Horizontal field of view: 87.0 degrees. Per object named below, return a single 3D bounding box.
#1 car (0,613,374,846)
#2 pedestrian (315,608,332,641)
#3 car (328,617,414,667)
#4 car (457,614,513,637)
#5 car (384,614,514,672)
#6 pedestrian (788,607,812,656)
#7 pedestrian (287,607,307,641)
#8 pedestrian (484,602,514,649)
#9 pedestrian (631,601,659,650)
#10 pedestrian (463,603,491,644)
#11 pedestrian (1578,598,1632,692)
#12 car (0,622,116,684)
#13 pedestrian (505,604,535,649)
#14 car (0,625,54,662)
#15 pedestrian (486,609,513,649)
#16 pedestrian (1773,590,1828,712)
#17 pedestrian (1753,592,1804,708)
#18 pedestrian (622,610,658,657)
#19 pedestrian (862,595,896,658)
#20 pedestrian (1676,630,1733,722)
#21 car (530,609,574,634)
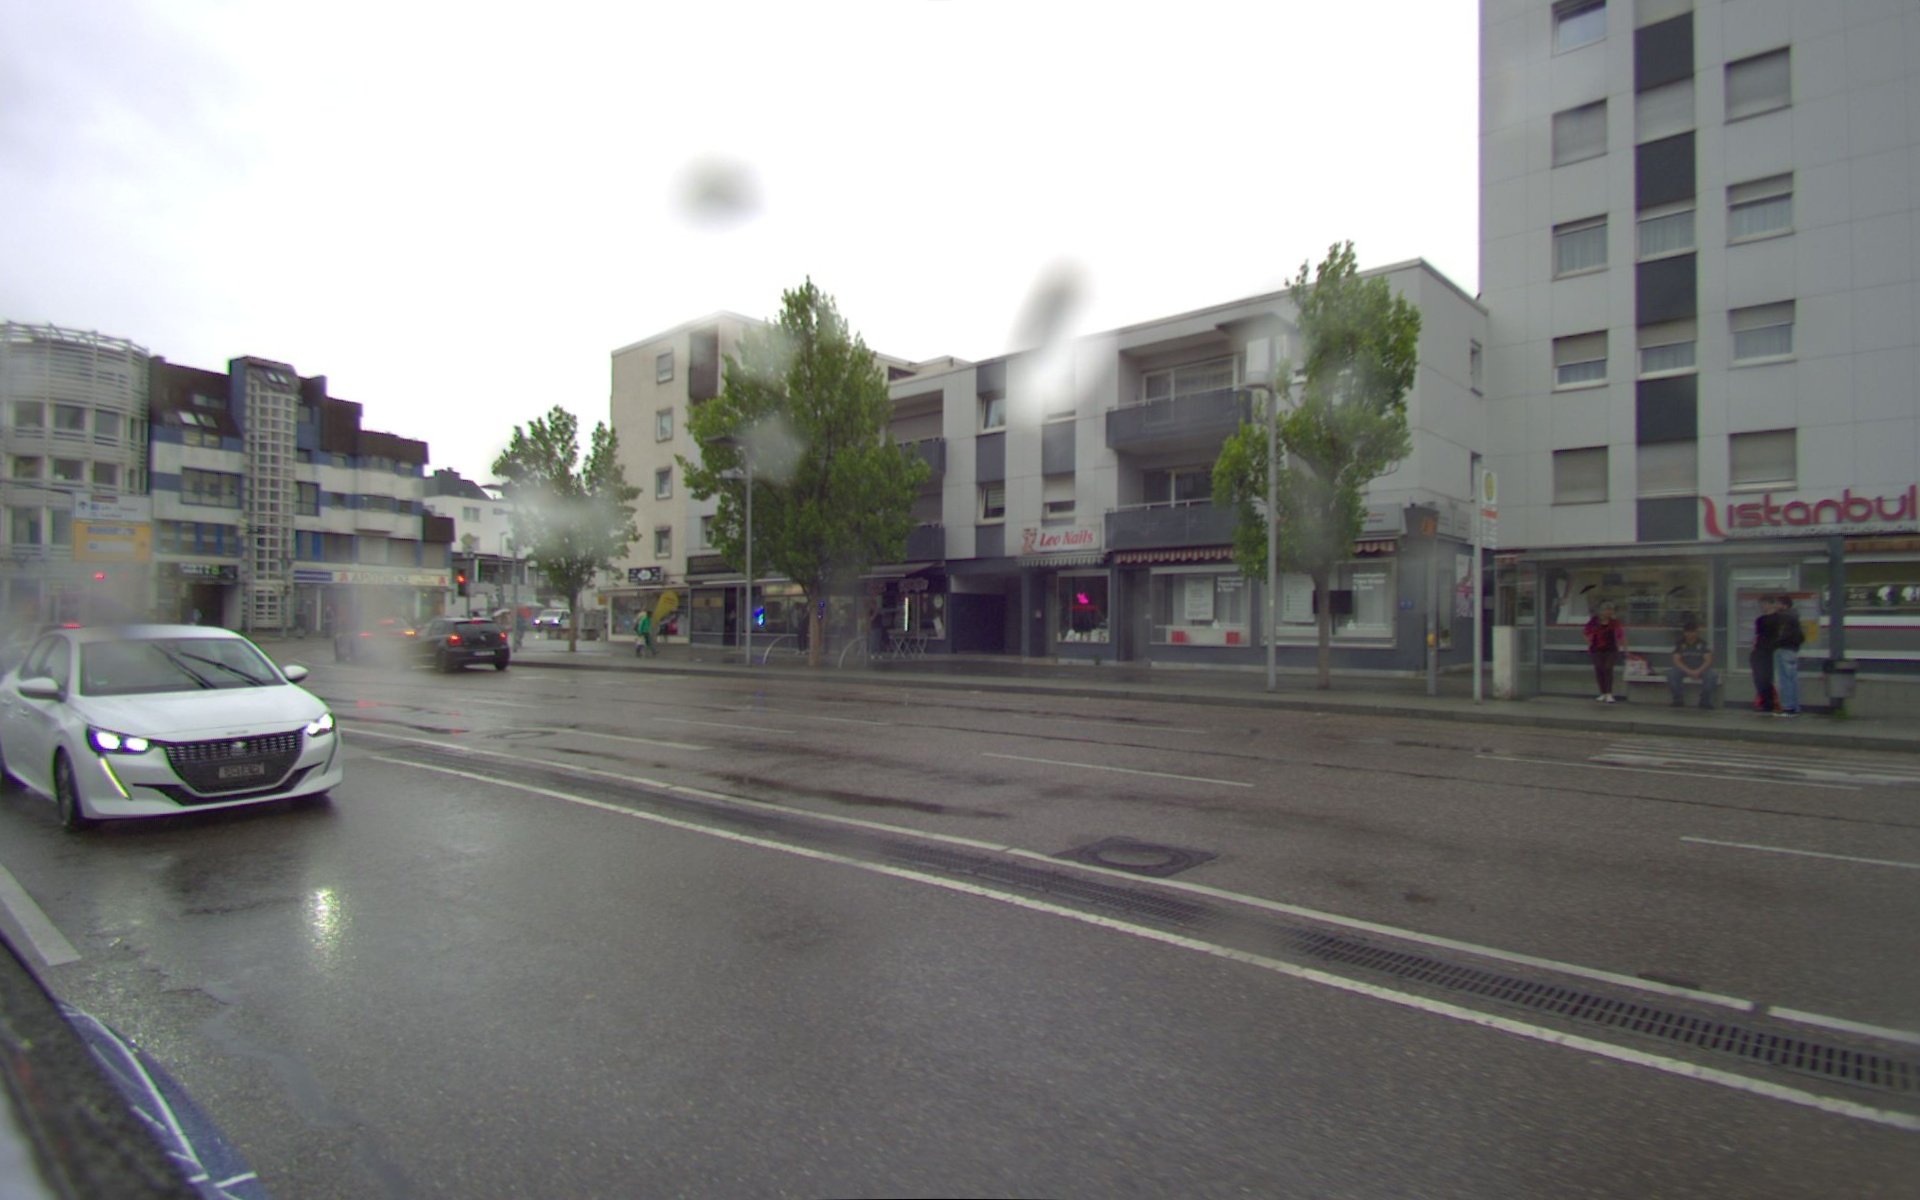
[{"bbox_3d":[-6.655,0.860,8.408,3.868,1.473,1.853,-1,-1,39],"label":"car"},{"bbox_3d":[-34.347,1.324,54.581,0.672,1.756,0.587,0,0,-22],"label":"pedestrian"},{"bbox_3d":[-18.822,1.274,32.239,1.735,1.438,4.897,0,-1,-38],"label":"car"},{"bbox_3d":[-37.487,1.993,79.976,1.737,1.733,3.863,-1,-1,24],"label":"car"},{"bbox_3d":[-13.773,1.128,27.188,3.997,1.438,1.739,-2,-2,41],"label":"car"},{"bbox_3d":[-5.746,1.125,36.310,0.681,1.763,0.541,-2,-2,45],"label":"pedestrian"},{"bbox_3d":[-34.802,1.261,53.108,0.826,1.756,0.586,0,0,-42],"label":"pedestrian"},{"bbox_3d":[-20.367,1.115,44.744,0.977,2.029,0.893,-2,-2,42],"label":"pedestrian"},{"bbox_3d":[-13.138,1.060,42.204,0.864,2.029,0.750,-2,-2,41],"label":"pedestrian"},{"bbox_3d":[-23.014,1.101,48.231,0.977,1.929,0.893,-2,-2,42],"label":"pedestrian"},{"bbox_3d":[10.557,0.725,16.582,0.611,1.516,0.533,-1,-1,20],"label":"pedestrian"},{"bbox_3d":[-23.323,1.330,25.916,3.992,1.462,1.741,-2,-2,36],"label":"car"},{"bbox_3d":[-19.908,1.187,45.781,0.977,2.029,0.893,-2,-2,42],"label":"pedestrian"},{"bbox_3d":[-39.860,1.788,41.465,1.621,1.501,3.814,-1,-1,20],"label":"car"},{"bbox_3d":[-22.219,1.389,48.805,0.977,1.929,0.893,-2,-2,42],"label":"pedestrian"},{"bbox_3d":[11.817,0.700,14.234,0.537,1.672,0.472,-1,-2,44],"label":"pedestrian"},{"bbox_3d":[12.089,0.726,14.941,0.528,1.672,0.480,1,-1,-41],"label":"pedestrian"},{"bbox_3d":[-11.402,1.176,36.078,0.726,1.658,0.996,-1,-1,42],"label":"pedestrian"},{"bbox_3d":[-2.670,0.871,33.364,0.749,2.029,0.865,1,-2,-44],"label":"pedestrian"},{"bbox_3d":[11.432,1.150,15.542,0.528,1.363,0.579,1,-1,-41],"label":"pedestrian"},{"bbox_3d":[-34.629,1.814,86.035,1.972,2.029,4.598,0,-1,0],"label":"car"}]
